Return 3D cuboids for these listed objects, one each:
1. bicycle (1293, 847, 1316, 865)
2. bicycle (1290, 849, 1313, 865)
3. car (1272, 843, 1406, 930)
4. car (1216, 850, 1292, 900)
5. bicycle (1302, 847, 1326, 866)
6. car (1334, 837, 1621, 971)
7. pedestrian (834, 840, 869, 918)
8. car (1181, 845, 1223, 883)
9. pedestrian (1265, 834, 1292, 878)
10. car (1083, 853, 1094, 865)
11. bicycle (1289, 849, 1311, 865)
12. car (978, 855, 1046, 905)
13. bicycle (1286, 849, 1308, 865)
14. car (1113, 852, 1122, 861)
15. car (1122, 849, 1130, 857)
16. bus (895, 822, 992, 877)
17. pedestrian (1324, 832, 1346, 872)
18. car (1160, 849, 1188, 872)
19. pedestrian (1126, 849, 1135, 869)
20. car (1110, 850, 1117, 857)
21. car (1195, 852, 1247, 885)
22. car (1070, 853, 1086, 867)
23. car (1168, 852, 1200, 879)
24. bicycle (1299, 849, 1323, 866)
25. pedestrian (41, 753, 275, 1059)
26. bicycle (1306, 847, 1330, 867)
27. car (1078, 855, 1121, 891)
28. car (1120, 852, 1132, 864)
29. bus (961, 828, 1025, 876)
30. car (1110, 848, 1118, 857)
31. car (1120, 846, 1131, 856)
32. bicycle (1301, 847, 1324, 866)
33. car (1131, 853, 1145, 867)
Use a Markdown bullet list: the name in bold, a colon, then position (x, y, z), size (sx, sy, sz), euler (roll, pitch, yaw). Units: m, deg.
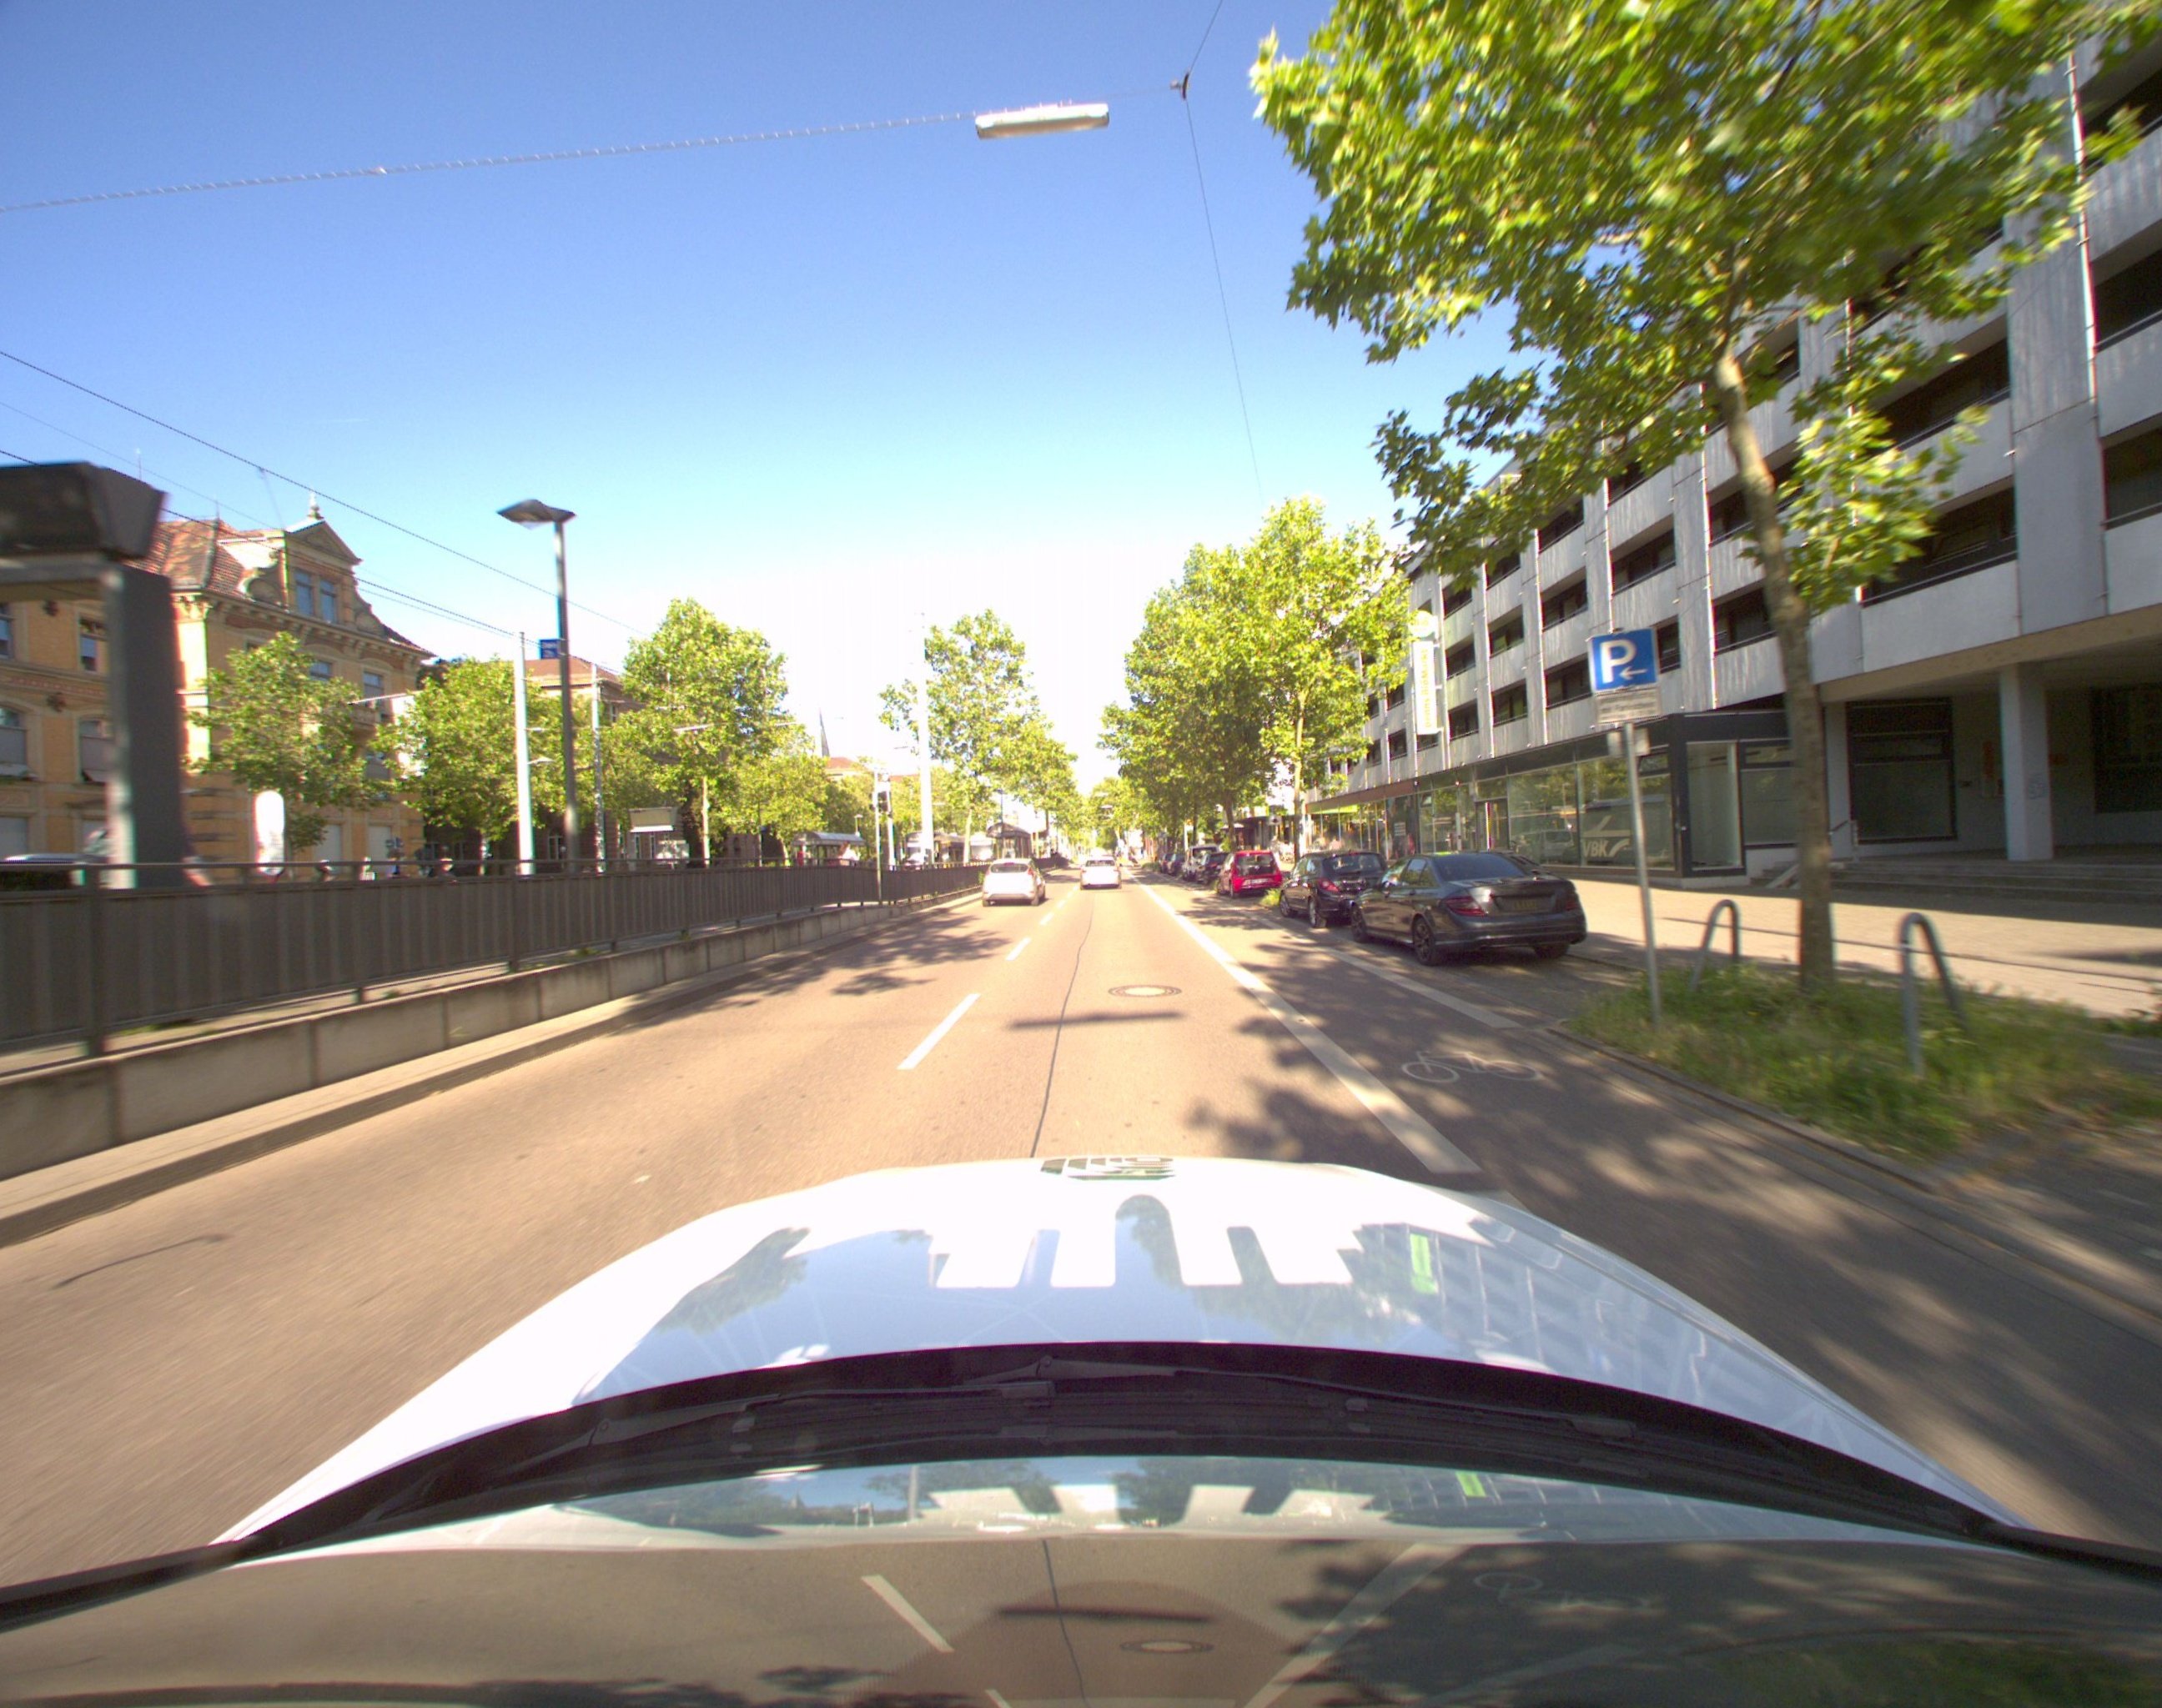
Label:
- **bicycle**: position (14.330, 0.122, 52.148), size (1.378, 1.098, 0.243), euler (-1, 0, 1)
- **bicycle**: position (14.252, 0.209, 52.623), size (1.378, 1.012, 0.243), euler (-1, 1, 1)
- **car**: position (5.200, 0.572, 16.919), size (1.663, 1.551, 4.003), euler (-1, 1, 2)
- **car**: position (5.657, 0.652, 27.097), size (1.799, 1.520, 4.002), euler (-1, 0, 2)
- **bicycle**: position (14.210, 0.153, 49.647), size (1.378, 1.148, 0.243), euler (-1, 0, 1)
- **car**: position (5.225, 0.582, 11.583), size (1.986, 1.509, 4.600), euler (-1, 0, 2)
- **pedestrian**: position (-5.939, 0.631, 21.098), size (0.636, 1.954, 0.814), euler (-1, 1, 2)
- **car**: position (6.231, 0.494, 42.372), size (1.718, 1.880, 4.002), euler (-1, 0, 2)
- **pedestrian**: position (9.331, 0.074, 38.521), size (0.960, 2.013, 0.939), euler (-3, 0, 2)
- **car**: position (1.404, 0.898, 152.006), size (1.986, 2.013, 4.003), euler (-1, 1, 2)
- **bicycle**: position (14.300, 0.219, 53.150), size (1.378, 1.023, 0.243), euler (-1, 1, 1)
- **car**: position (-2.085, 0.760, 25.627), size (1.640, 1.362, 3.762), euler (-1, 1, 2)
- **bicycle**: position (14.348, 0.219, 54.193), size (1.378, 1.028, 0.243), euler (-1, 1, 1)
- **car**: position (8.453, 0.646, 188.101), size (2.063, 2.013, 4.002), euler (-3, 0, 2)
- **car**: position (10.930, -0.276, 199.007), size (1.867, 2.013, 3.714), euler (-1, 1, 2)
- **bus**: position (-10.760, -0.456, 68.129), size (2.858, 3.628, 24.619), euler (-2, 1, 2)
- **pedestrian**: position (13.186, -0.101, 42.342), size (0.785, 2.013, 0.891), euler (-3, 0, 2)
- **car**: position (6.676, 0.436, 58.706), size (1.694, 1.534, 3.719), euler (-1, 1, 2)
- **pedestrian**: position (4.943, 0.495, 81.110), size (0.833, 2.013, 0.650), euler (-1, 1, 9)
- **car**: position (9.582, -0.102, 239.151), size (1.986, 2.013, 4.003), euler (-1, 1, 2)
- **car**: position (6.218, 0.614, 36.552), size (1.774, 1.380, 4.002), euler (-1, 0, 2)
- **car**: position (-0.408, 0.754, 109.932), size (1.986, 1.816, 4.003), euler (-1, 1, 2)
- **car**: position (6.488, 0.712, 51.546), size (1.704, 1.563, 4.003), euler (-1, 1, 2)
- **bicycle**: position (14.197, 0.198, 50.298), size (1.378, 1.055, 0.243), euler (-1, 1, 1)
- **pedestrian**: position (-6.310, 0.328, 5.621), size (0.636, 1.954, 0.814), euler (-1, 1, 2)
- **bicycle**: position (14.324, 0.181, 49.317), size (1.378, 1.148, 0.243), euler (-1, 0, 1)
- **car**: position (0.814, 0.804, 35.905), size (1.756, 1.432, 4.001), euler (-2, 0, 1)
- **car**: position (8.362, 0.715, 151.405), size (1.986, 2.013, 4.003), euler (-1, 1, 2)
- **bus**: position (-7.581, -0.266, 73.551), size (2.739, 3.625, 18.859), euler (-2, 1, 2)
- **car**: position (8.262, -0.343, 204.145), size (1.986, 2.013, 4.003), euler (-1, 1, 2)
- **car**: position (9.612, -0.708, 175.941), size (1.986, 2.013, 4.001), euler (-3, 0, 1)
- **bicycle**: position (14.214, 0.178, 50.013), size (1.378, 1.148, 0.243), euler (-1, 0, 1)
- **car**: position (7.543, 0.775, 107.681), size (1.802, 1.791, 3.914), euler (-1, 1, 2)
